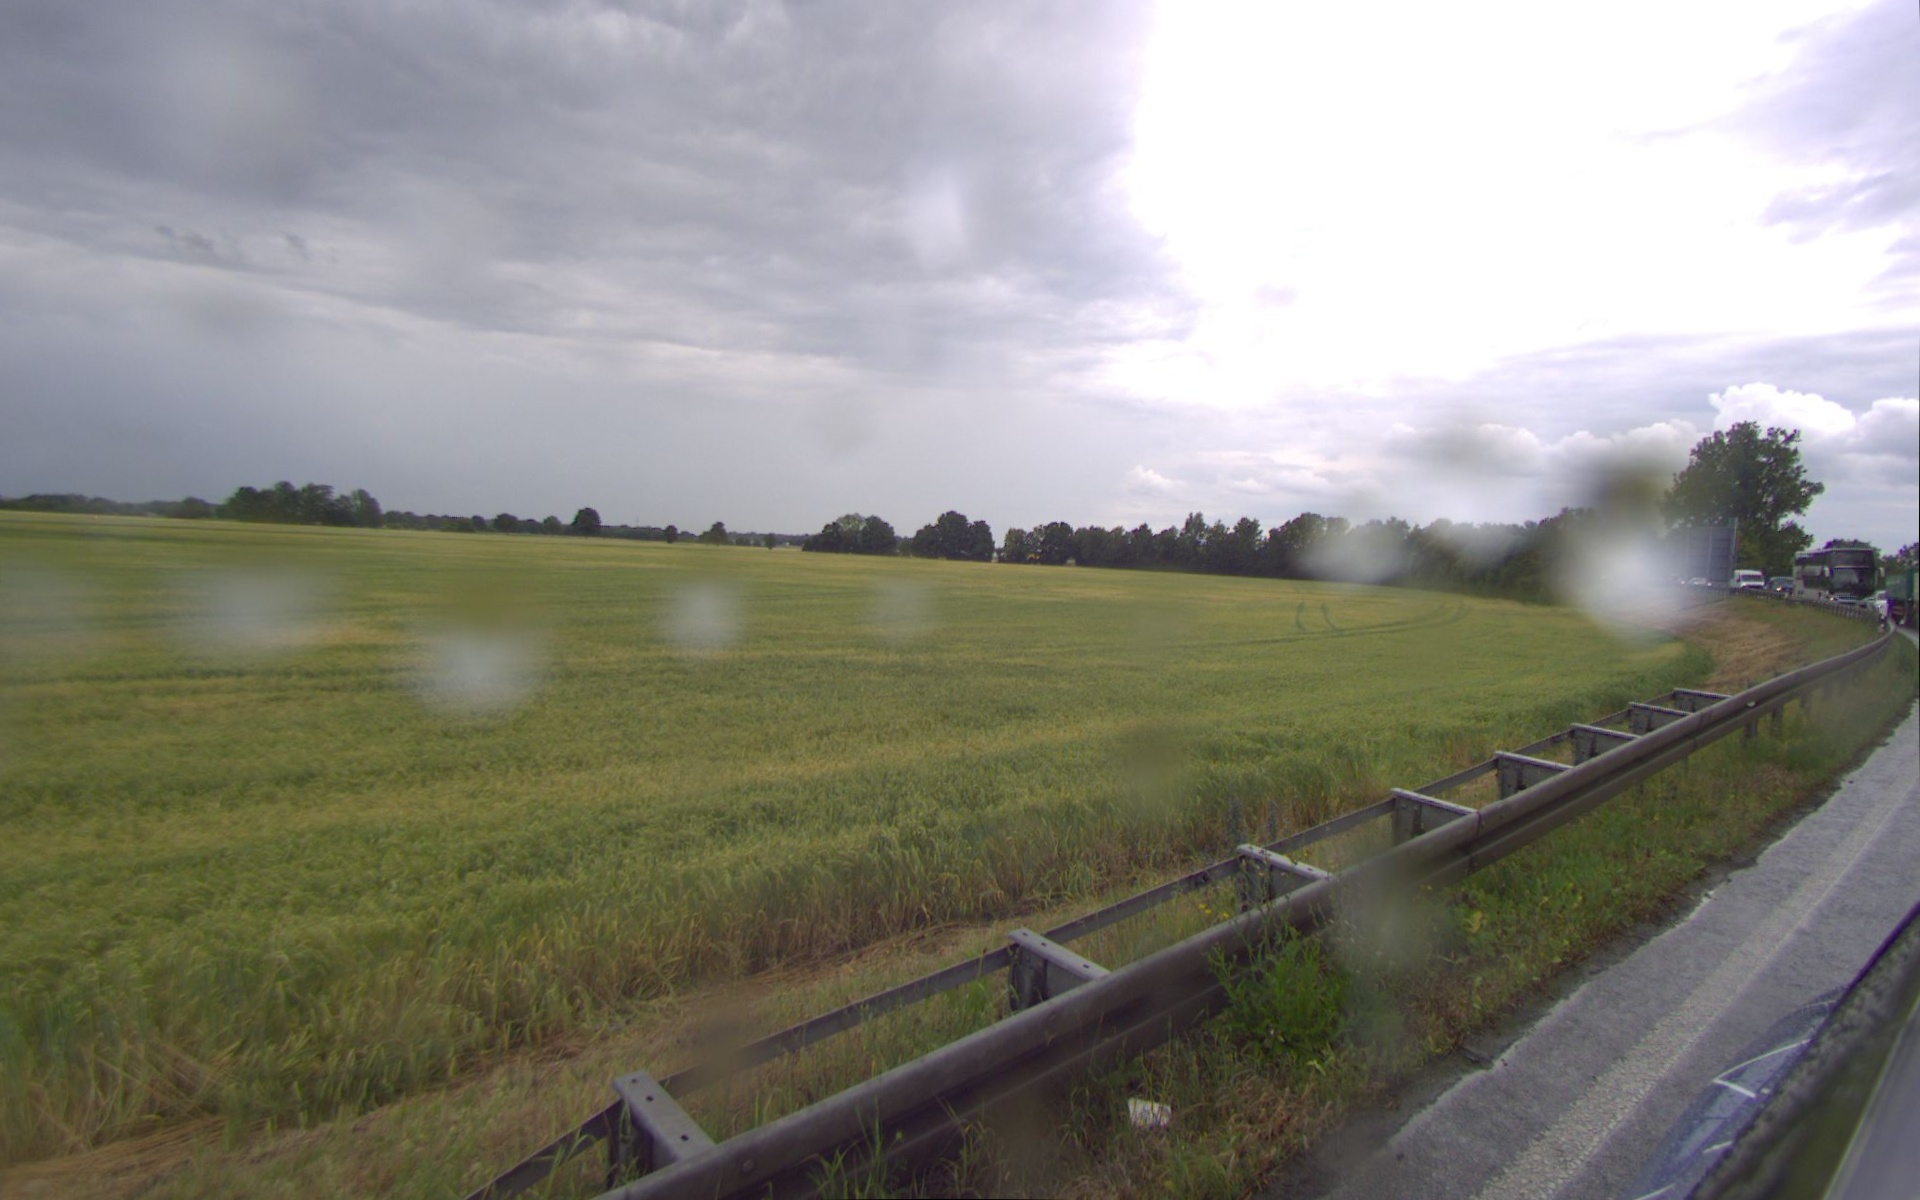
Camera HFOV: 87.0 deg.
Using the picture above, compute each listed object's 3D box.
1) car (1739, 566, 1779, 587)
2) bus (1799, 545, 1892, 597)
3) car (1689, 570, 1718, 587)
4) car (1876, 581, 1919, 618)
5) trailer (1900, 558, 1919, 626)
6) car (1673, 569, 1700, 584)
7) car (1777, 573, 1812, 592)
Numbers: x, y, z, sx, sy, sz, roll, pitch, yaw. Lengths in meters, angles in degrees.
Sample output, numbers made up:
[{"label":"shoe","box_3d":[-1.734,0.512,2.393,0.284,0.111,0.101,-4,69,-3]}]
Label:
[{"label":"car","box_3d":[81.304,-2.381,103.100,1.979,2.039,5.291,0,1,25]},{"label":"bus","box_3d":[62.504,-2.111,71.831,2.945,3.353,14.664,0,2,33]},{"label":"car","box_3d":[91.562,-2.659,124.696,1.979,2.039,4.197,0,1,25]},{"label":"car","box_3d":[50.586,-0.076,54.052,2.032,1.865,5.264,0,1,38]},{"label":"trailer","box_3d":[40.238,-0.346,40.454,2.971,2.666,15.459,0,1,39]},{"label":"car","box_3d":[97.003,-3.114,135.152,1.977,2.039,4.233,0,1,23]},{"label":"car","box_3d":[72.315,-1.493,87.757,1.800,1.597,3.956,0,1,31]}]
